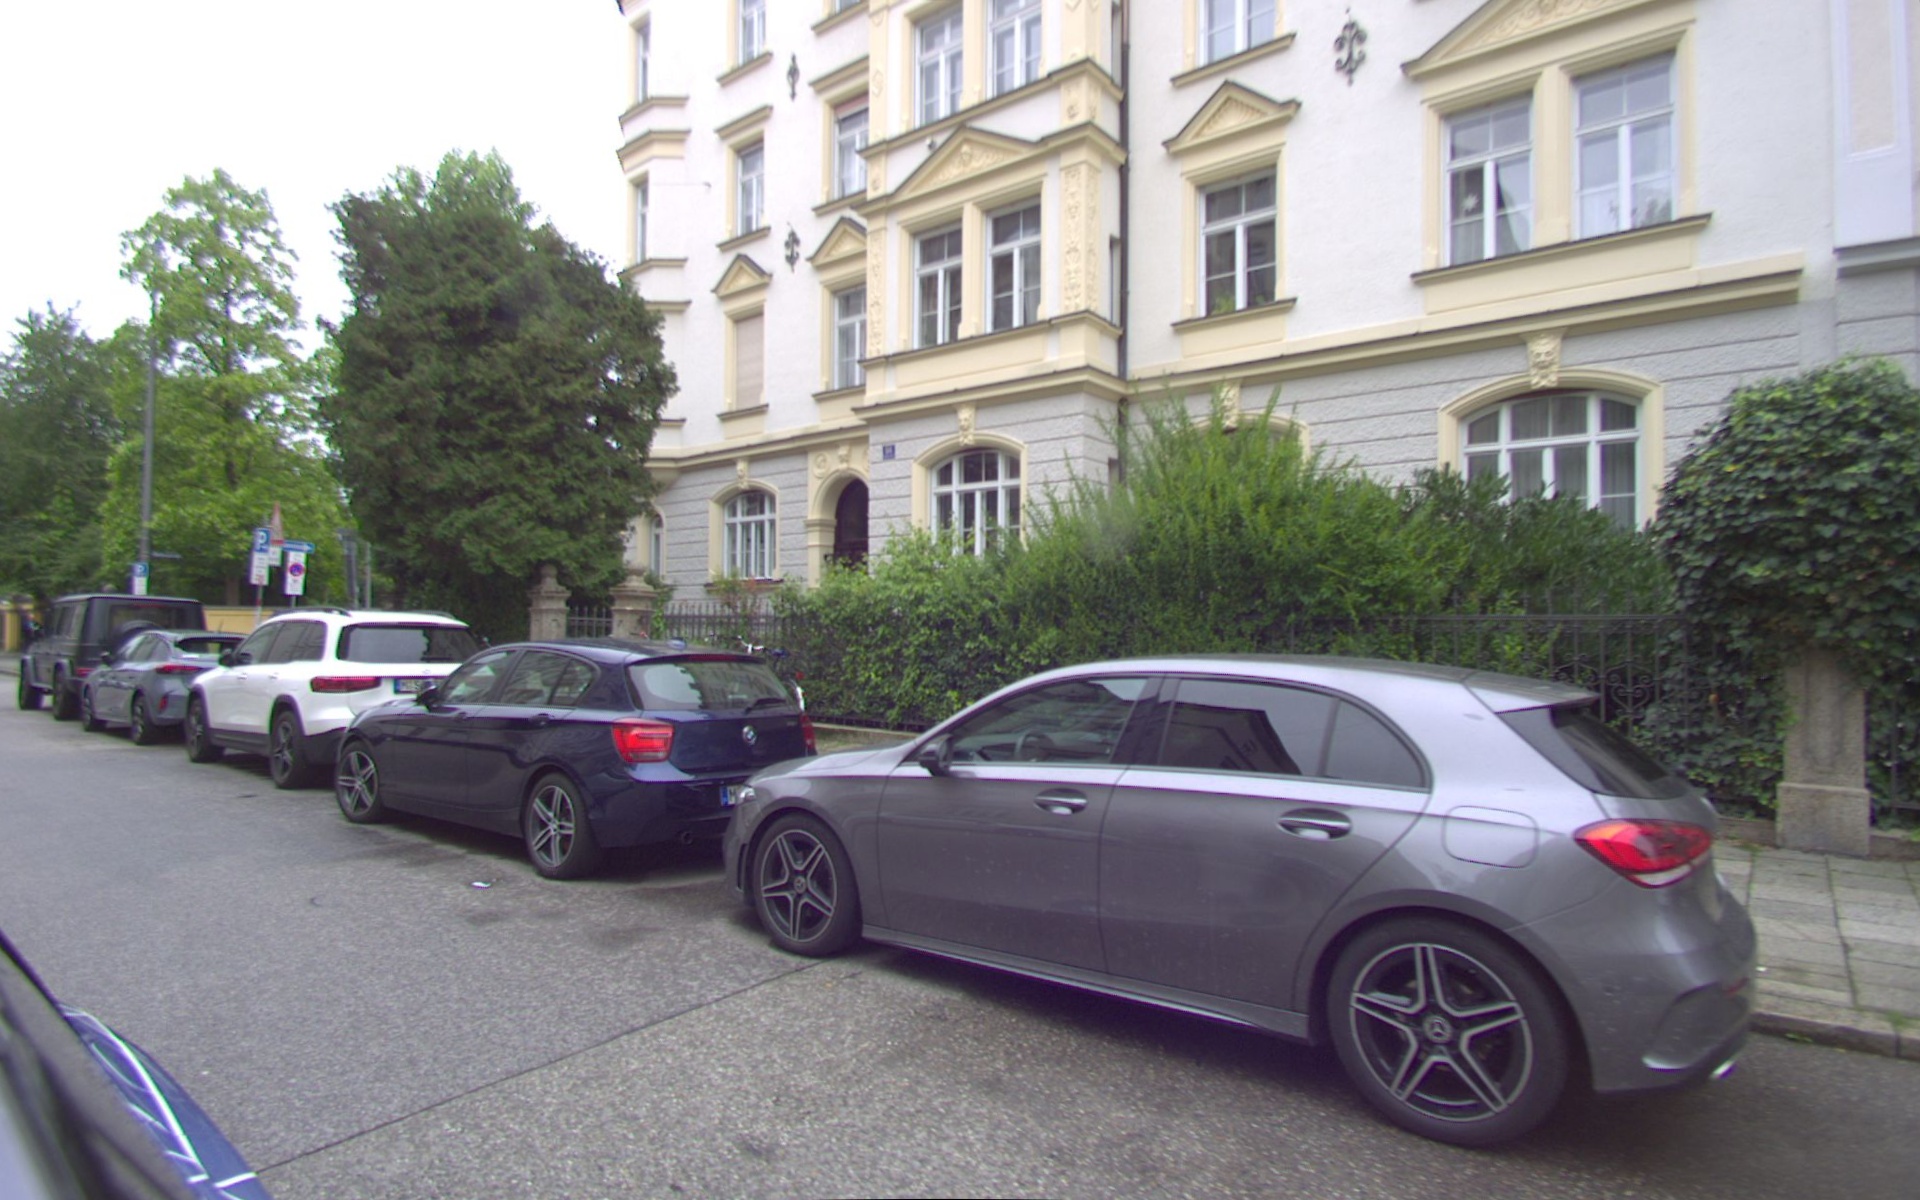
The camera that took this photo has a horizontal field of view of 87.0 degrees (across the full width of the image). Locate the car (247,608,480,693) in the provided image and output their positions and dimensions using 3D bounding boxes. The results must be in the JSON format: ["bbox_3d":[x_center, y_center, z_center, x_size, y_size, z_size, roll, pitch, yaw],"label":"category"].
[{"bbox_3d":[-14.411,1.193,24.718,2.048,1.872,4.471,-2,-2,32],"label":"car"}]

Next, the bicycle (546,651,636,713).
[{"bbox_3d":[-6.047,1.333,16.650,0.337,0.969,1.459,-3,-5,35],"label":"bicycle"}]

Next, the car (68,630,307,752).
[{"bbox_3d":[-10.653,1.185,13.876,3.914,1.441,1.626,-2,-5,38],"label":"car"}]

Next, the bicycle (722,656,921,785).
[{"bbox_3d":[-1.619,1.290,11.472,2.528,1.307,0.747,-2,-4,40],"label":"bicycle"}]

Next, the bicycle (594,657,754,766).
[{"bbox_3d":[-3.732,1.382,13.060,2.528,1.270,0.689,-2,-4,40],"label":"bicycle"}]

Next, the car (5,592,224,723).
[{"bbox_3d":[-14.215,0.919,16.916,4.812,1.901,1.893,-2,-3,39],"label":"car"}]

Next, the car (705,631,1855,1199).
[{"bbox_3d":[0.945,0.871,4.377,4.185,1.375,1.719,-2,-4,37],"label":"car"}]

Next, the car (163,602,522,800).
[{"bbox_3d":[-6.618,0.957,10.648,4.480,1.661,1.788,-2,-4,39],"label":"car"}]

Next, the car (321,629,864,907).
[{"bbox_3d":[-2.748,0.931,7.207,3.993,1.431,1.752,-1,-2,37],"label":"car"}]
